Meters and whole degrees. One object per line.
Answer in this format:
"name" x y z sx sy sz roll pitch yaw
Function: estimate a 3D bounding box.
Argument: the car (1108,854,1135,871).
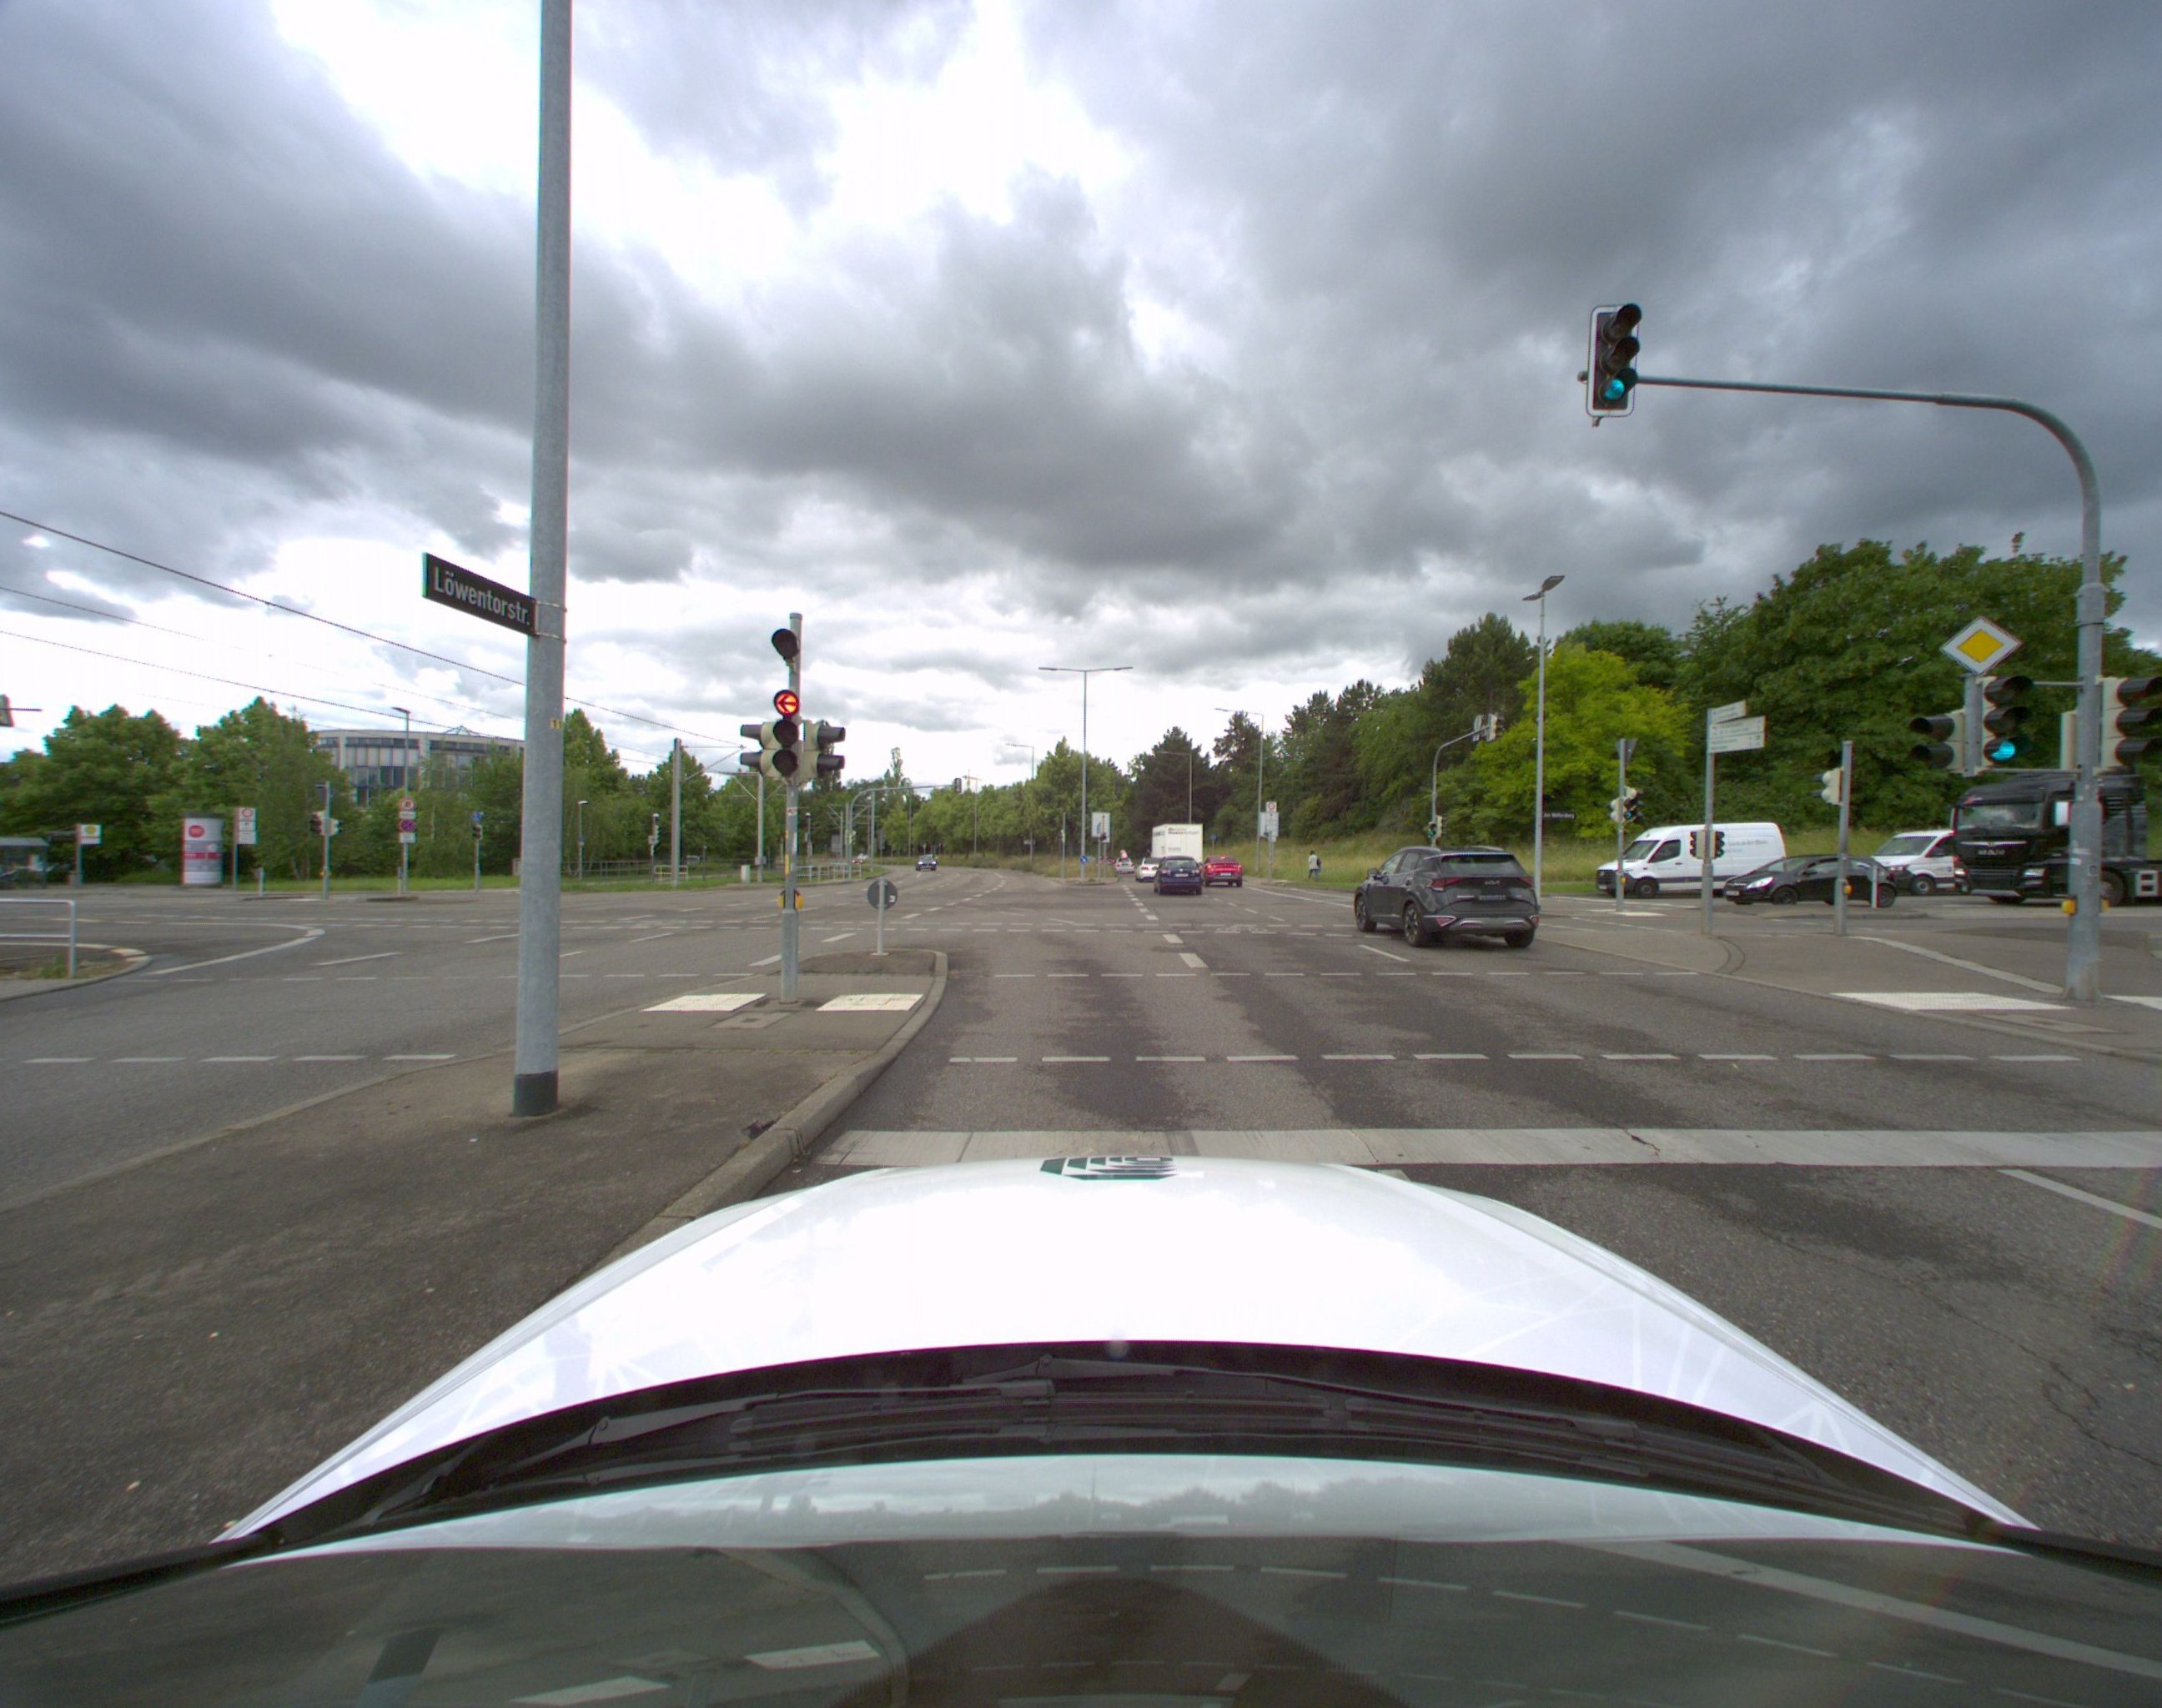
"car" 3.671 0.769 73.704 1.820 1.506 3.485 0 -1 -8

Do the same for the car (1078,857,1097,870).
"car" 0.705 1.111 94.983 1.584 1.493 3.430 0 0 -11

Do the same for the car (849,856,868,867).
"car" -36.830 1.255 134.811 1.884 1.791 3.960 0 -1 -32

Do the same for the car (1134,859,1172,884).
"car" 4.237 1.001 48.295 1.795 1.412 4.314 0 -1 -1

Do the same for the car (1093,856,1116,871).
"car" 2.503 0.994 86.387 1.625 1.493 3.822 0 0 -11

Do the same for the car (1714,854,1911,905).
"car" 20.284 0.699 22.711 3.859 1.338 1.698 0 -1 4

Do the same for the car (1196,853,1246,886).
"car" 6.912 0.743 40.491 1.840 1.530 4.378 0 0 2

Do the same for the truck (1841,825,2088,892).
"truck" 30.929 0.174 28.686 5.992 2.230 2.165 0 -1 5

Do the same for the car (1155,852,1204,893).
"car" 4.032 0.732 33.935 1.658 1.598 3.997 0 -1 1

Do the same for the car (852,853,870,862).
"car" -43.693 0.699 161.693 3.756 1.711 1.642 -1 -1 42

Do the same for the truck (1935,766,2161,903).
"truck" 27.990 -0.511 22.361 5.971 3.486 2.694 -1 -1 4

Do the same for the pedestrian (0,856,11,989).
"pedestrian" -12.768 0.792 9.101 0.632 1.536 0.719 0 -1 -2

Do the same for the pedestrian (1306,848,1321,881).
"pedestrian" 11.793 0.519 41.260 0.640 1.662 0.715 0 -1 8

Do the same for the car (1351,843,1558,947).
"car" 6.230 0.627 14.188 1.786 1.530 4.220 0 -1 2

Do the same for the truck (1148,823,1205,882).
"truck" 6.790 -0.148 59.386 2.795 3.903 10.176 0 0 -1

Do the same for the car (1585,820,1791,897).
"car" 21.761 0.165 29.393 5.780 2.630 2.002 0 -1 3

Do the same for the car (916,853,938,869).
"car" -16.177 0.745 85.247 1.800 1.587 3.975 0 -1 -18
